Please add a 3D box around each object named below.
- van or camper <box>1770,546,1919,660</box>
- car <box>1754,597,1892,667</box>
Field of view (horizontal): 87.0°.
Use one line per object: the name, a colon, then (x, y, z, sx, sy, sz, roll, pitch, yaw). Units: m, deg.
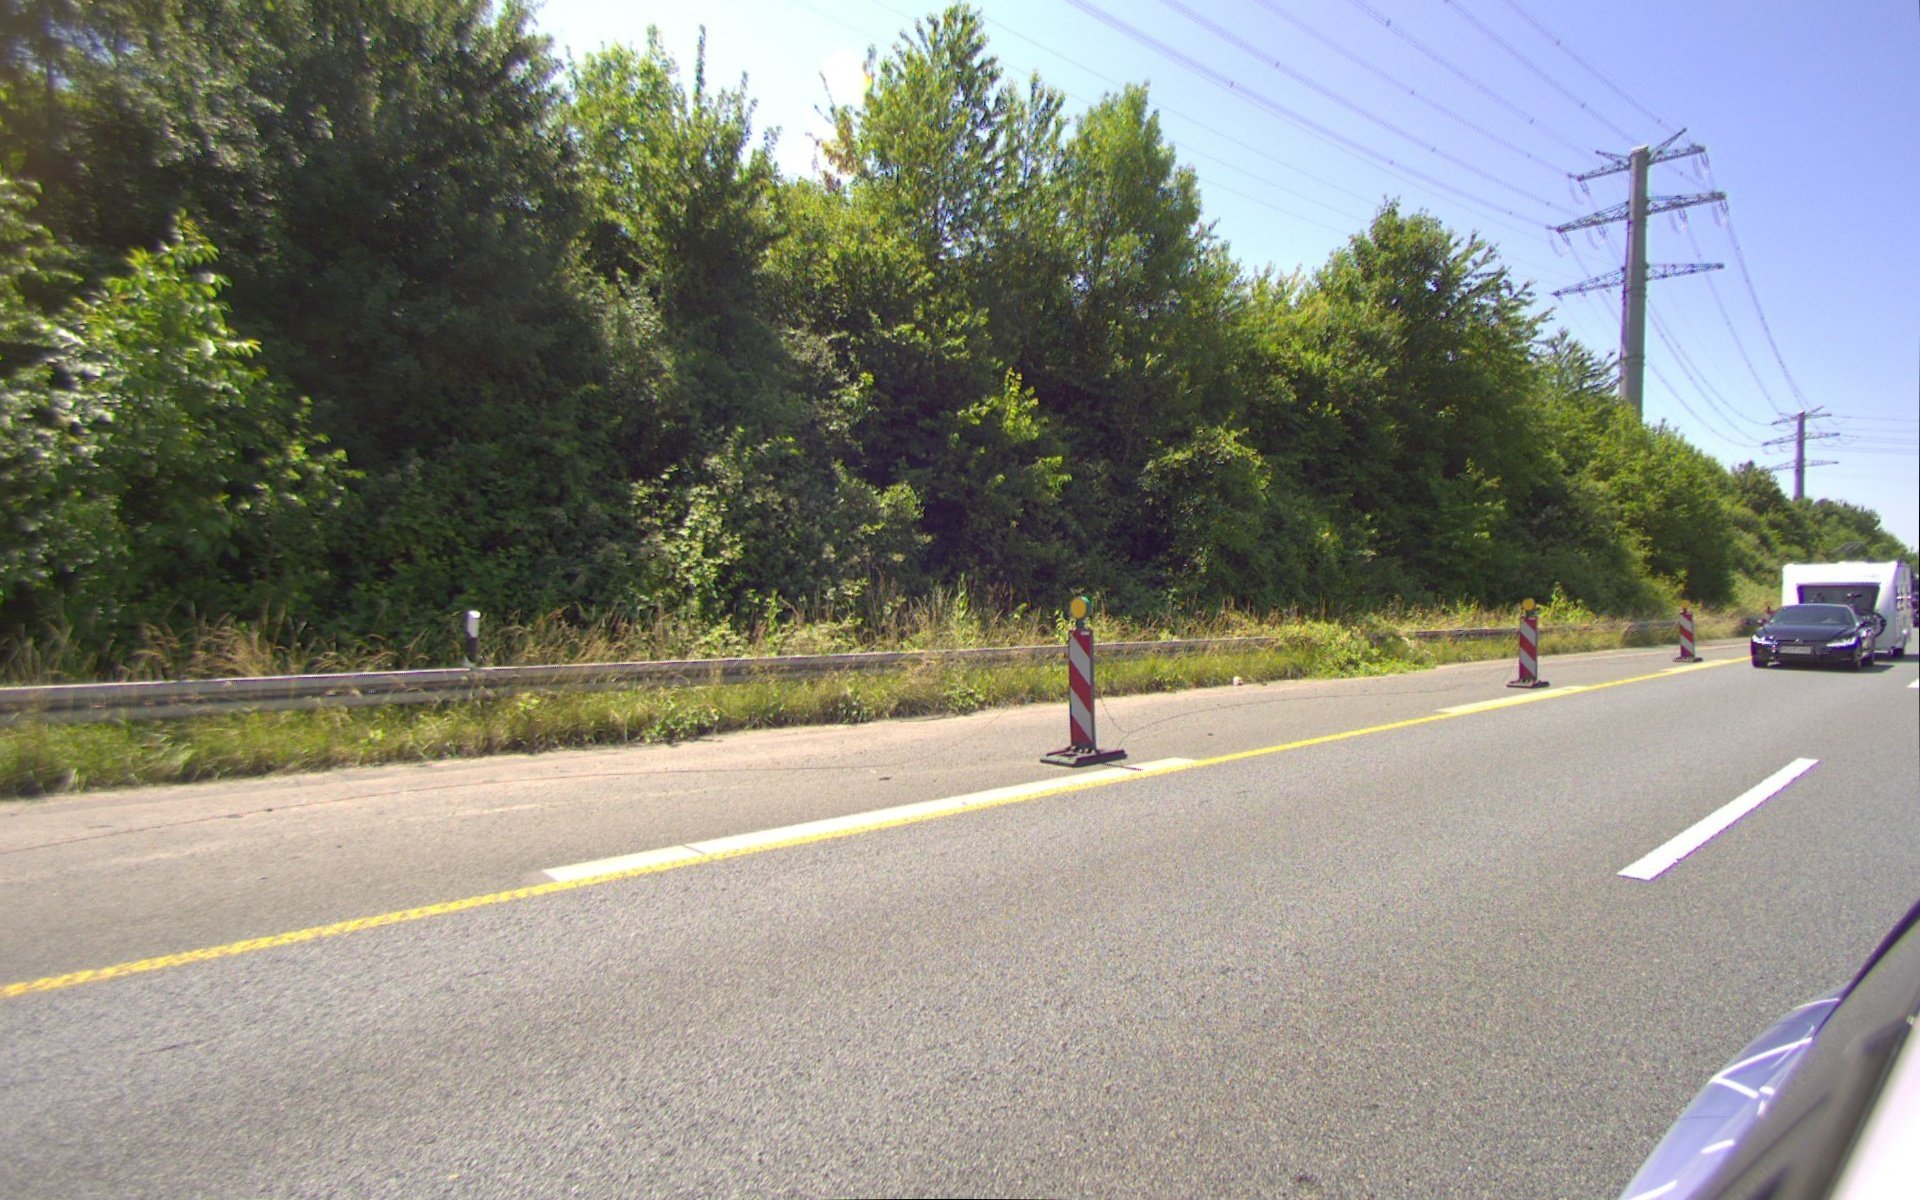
van or camper: (23.880, 0.056, 26.828, 8.272, 2.597, 2.429, 0, 0, -42)
car: (19.310, 0.642, 22.591, 4.137, 1.425, 1.798, 0, 0, -42)
